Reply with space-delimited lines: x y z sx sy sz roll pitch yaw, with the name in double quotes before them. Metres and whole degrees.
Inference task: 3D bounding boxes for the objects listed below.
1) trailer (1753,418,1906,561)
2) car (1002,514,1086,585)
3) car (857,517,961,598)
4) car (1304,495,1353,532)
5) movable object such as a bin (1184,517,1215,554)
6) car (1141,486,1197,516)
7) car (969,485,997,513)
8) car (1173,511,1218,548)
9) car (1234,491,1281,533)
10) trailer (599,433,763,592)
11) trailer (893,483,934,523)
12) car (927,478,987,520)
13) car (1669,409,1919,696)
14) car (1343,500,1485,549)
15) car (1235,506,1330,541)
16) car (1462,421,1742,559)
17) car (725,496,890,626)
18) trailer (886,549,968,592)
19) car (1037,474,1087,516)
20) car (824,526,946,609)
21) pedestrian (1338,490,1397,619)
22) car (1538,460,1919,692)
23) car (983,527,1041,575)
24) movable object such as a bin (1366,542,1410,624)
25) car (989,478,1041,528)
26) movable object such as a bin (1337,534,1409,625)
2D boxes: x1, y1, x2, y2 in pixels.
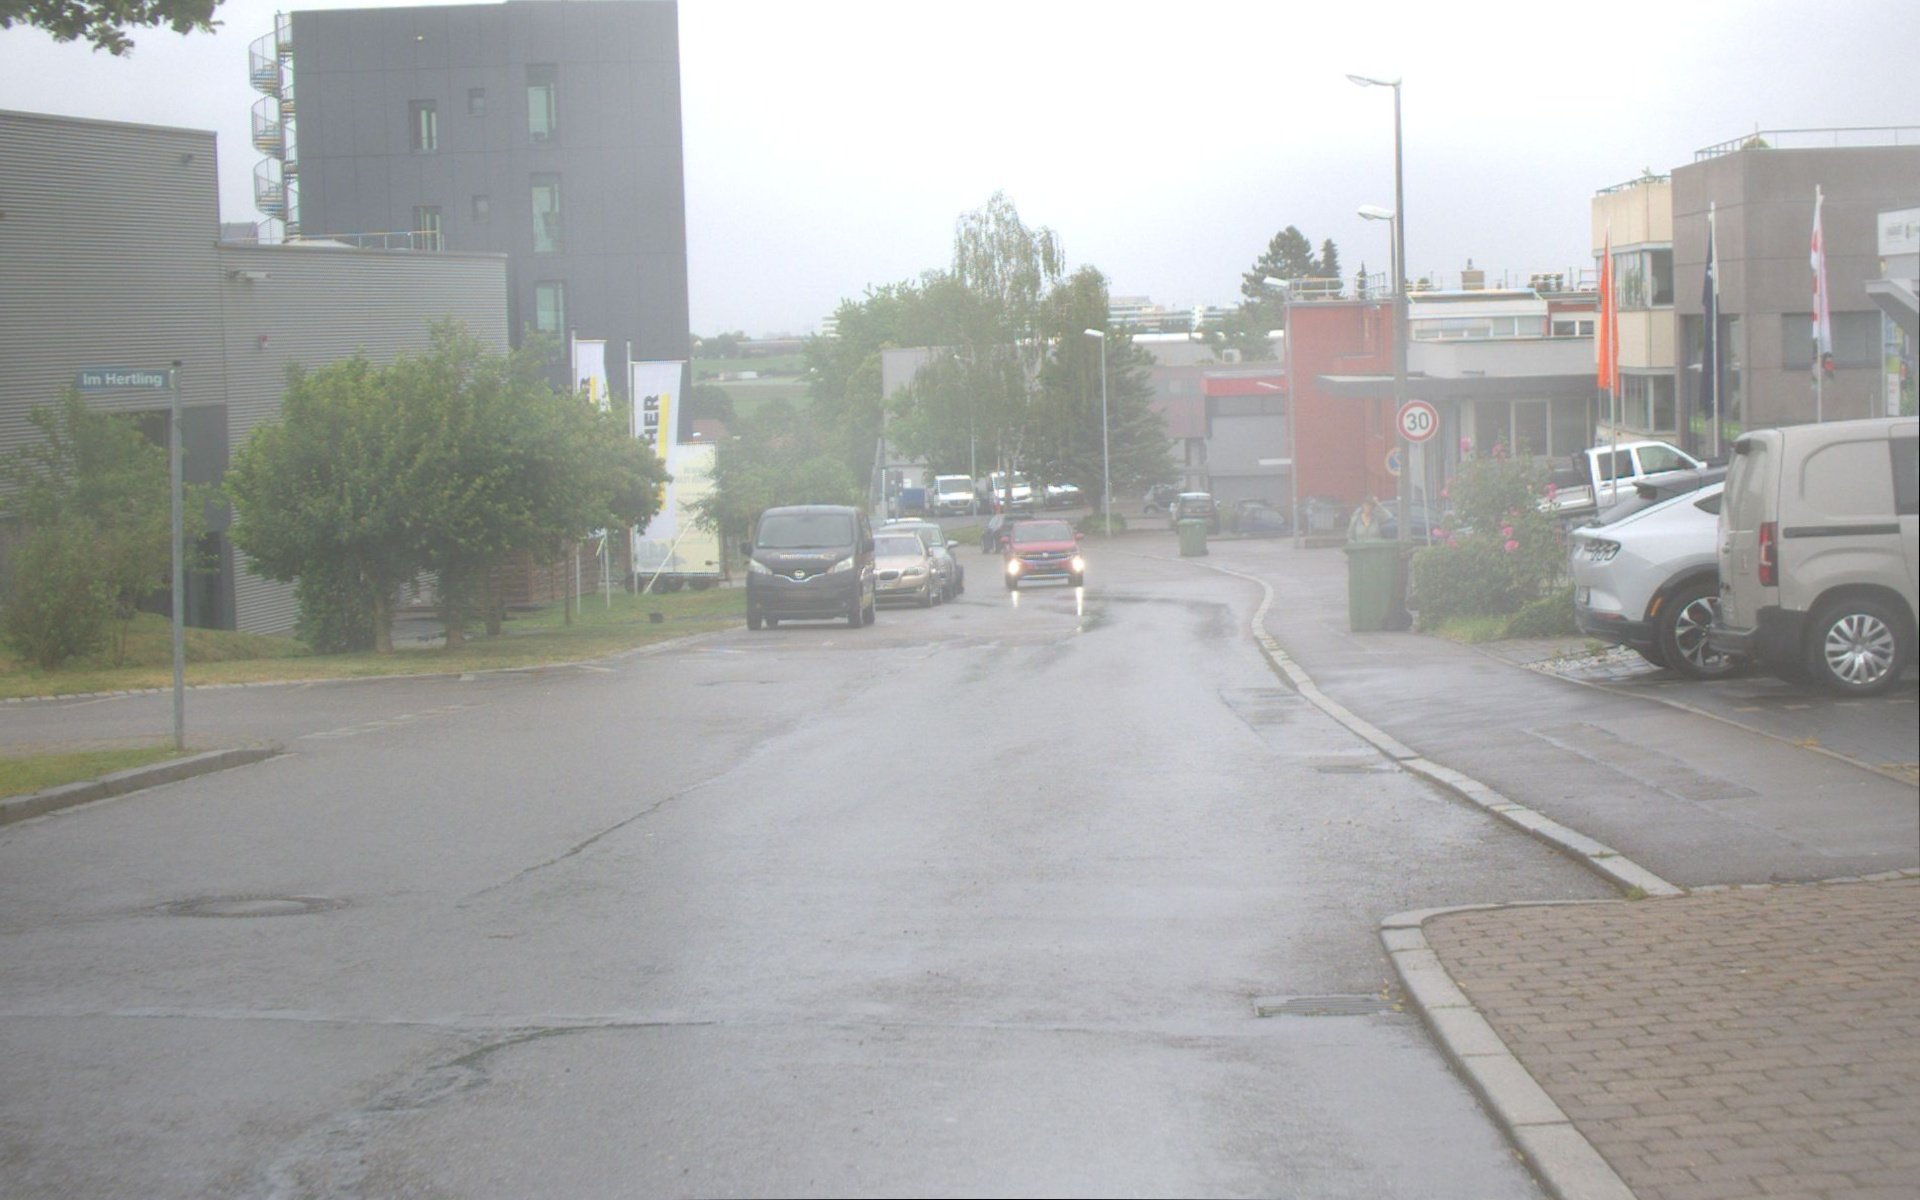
"trailer" 15.651 -2.019 62.061 1.887 2.408 4.308 -2 2 4
"car" 1.945 -1.170 80.616 1.747 1.503 3.935 -4 0 0
"car" -1.049 -0.907 73.111 1.957 1.571 4.840 -3 1 1
"car" 15.342 -3.602 143.288 1.729 1.417 4.000 -2 1 2
"movable object such as a bin" 7.198 -1.945 103.413 0.806 1.089 0.709 -3 2 -2
"car" 10.068 -4.767 165.848 2.547 1.347 1.242 -2 2 -2
"car" 1.245 -5.401 184.728 1.290 1.419 2.547 -2 1 -4
"car" 9.827 -2.944 143.711 1.697 1.470 4.000 -2 1 2
"car" 12.455 -3.679 144.280 1.739 1.648 4.000 -2 1 2
"trailer" -7.756 -2.420 95.315 4.183 4.188 2.001 -2 2 41
"trailer" -2.477 -5.163 182.893 1.852 2.006 4.001 -2 2 -5
"car" -0.170 -5.259 178.762 2.264 2.007 4.001 -2 1 -13
"car" 7.118 -0.394 22.854 4.340 1.767 2.089 -2 1 1
"car" 13.024 -2.167 98.789 3.895 1.379 1.821 0 1 2
"car" 11.771 -2.802 125.800 3.401 1.159 1.791 -2 2 5
"car" 13.494 -2.305 72.524 5.299 2.006 2.222 -10 0 3
"car" -2.258 -0.614 52.126 1.916 1.825 4.847 -2 1 4
"trailer" -0.720 -0.665 77.486 1.680 0.885 3.897 -2 1 2
"car" 5.322 -5.486 179.911 2.145 2.007 3.940 -2 1 -4
"car" -1.407 -0.668 66.747 1.956 1.456 5.247 -2 1 3
"pedestrian" 5.647 -0.635 47.673 0.736 1.761 0.808 -2 1 4
"car" 6.851 -0.266 25.963 4.597 1.533 2.079 -4 1 3
"car" 1.908 -1.800 127.608 1.956 1.670 4.473 -2 0 -1
"movable object such as a bin" 5.165 -0.209 41.515 0.472 0.964 0.514 -2 1 4
"car" 2.865 -5.062 179.046 2.192 2.451 4.001 -2 1 -5
"movable object such as a bin" 4.790 -0.244 39.931 0.772 1.026 0.808 -2 1 4
